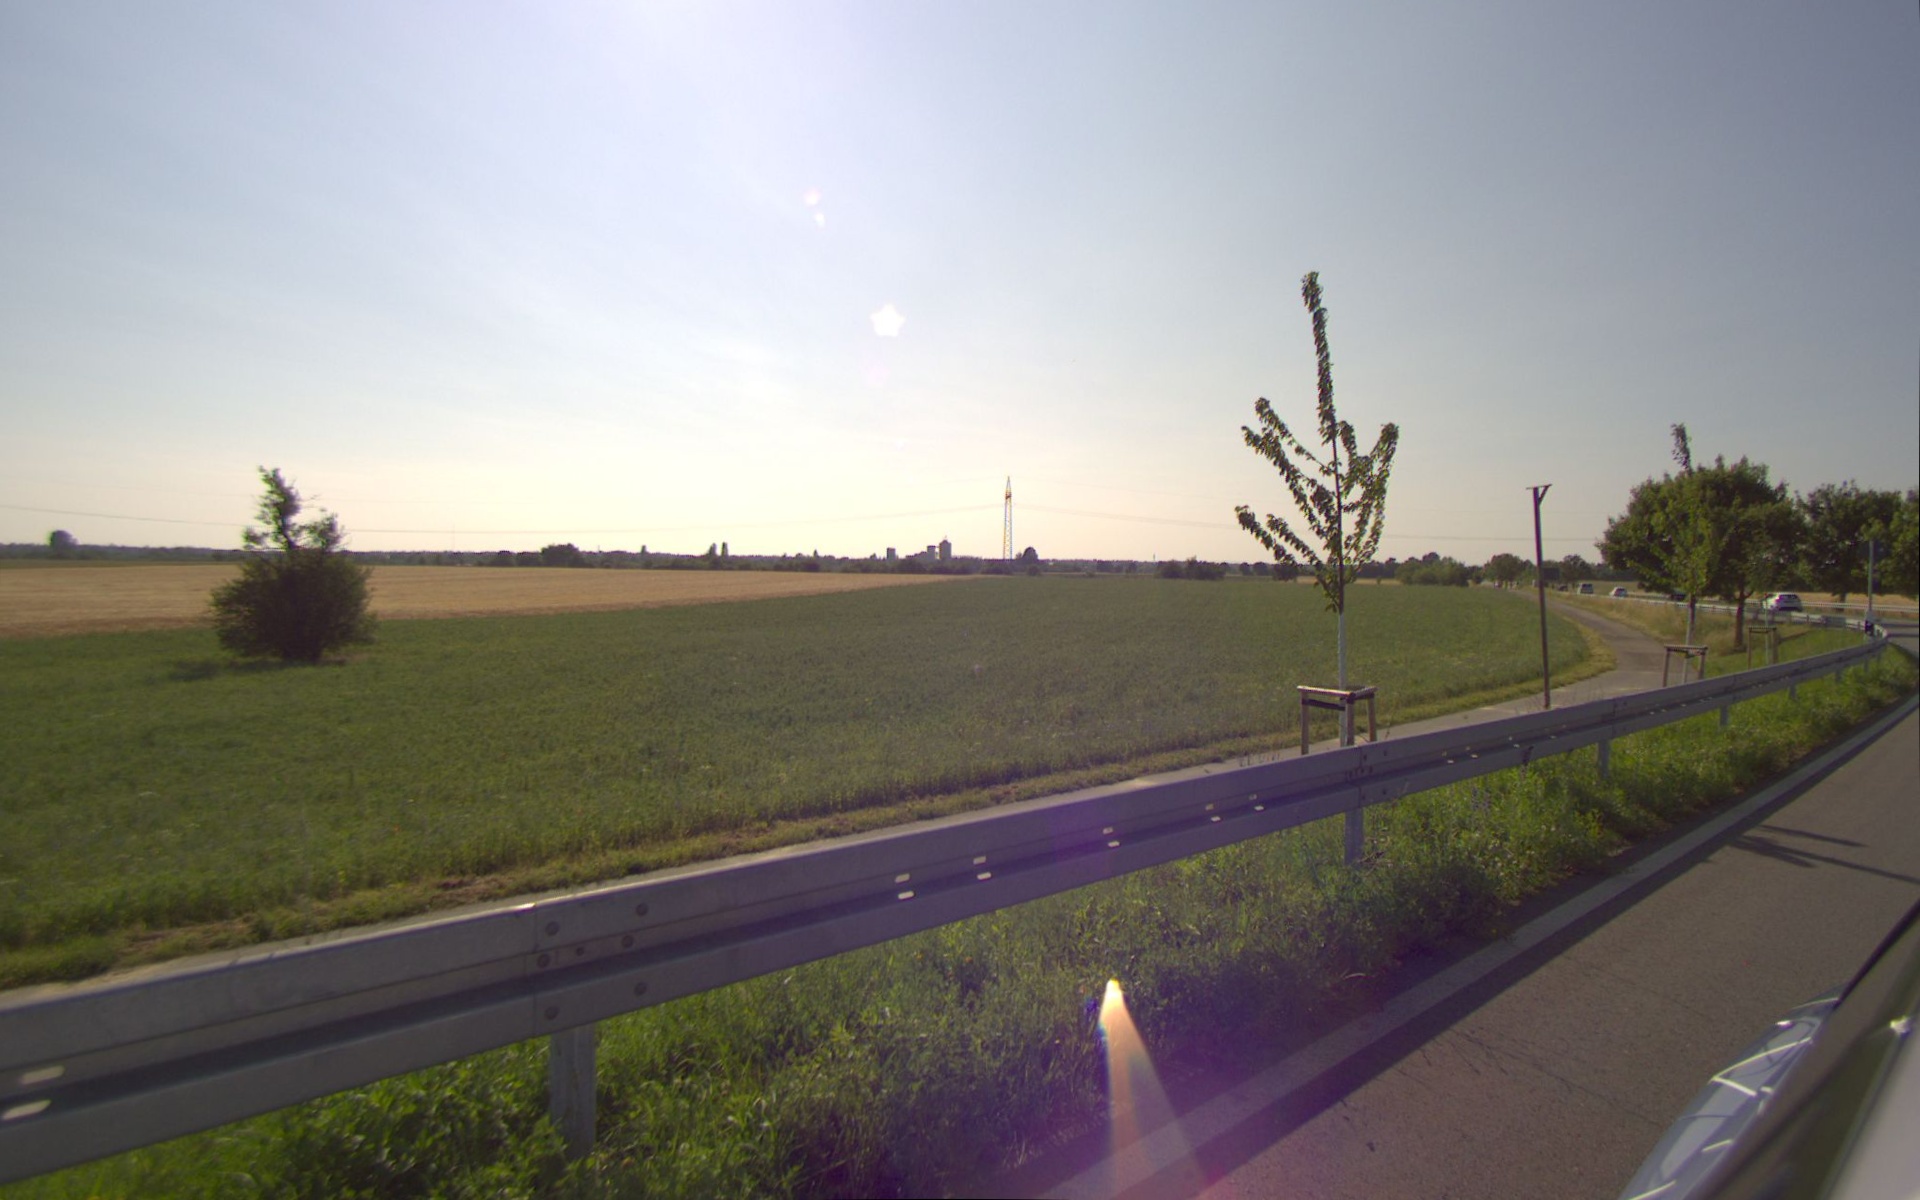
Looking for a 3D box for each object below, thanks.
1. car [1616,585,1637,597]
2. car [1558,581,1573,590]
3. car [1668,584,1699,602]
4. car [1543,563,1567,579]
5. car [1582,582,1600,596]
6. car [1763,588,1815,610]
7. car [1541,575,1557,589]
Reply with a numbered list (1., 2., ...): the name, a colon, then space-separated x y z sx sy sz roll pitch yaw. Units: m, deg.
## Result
1. car: 89.137 -1.240 135.430 1.739 1.447 3.813 -1 1 25
2. car: 117.461 -2.763 196.437 1.994 1.604 4.787 1 3 25
3. car: 73.003 -0.722 102.141 1.825 1.563 4.207 -1 2 27
4. car: 81.445 -3.950 138.545 2.793 2.039 6.039 -1 1 30
5. car: 102.365 -1.758 164.255 1.899 2.038 4.742 -1 2 26
6. car: 58.790 -0.115 71.835 1.839 1.467 4.120 -1 1 24
7. car: 92.116 -2.845 158.375 1.770 2.039 3.968 -1 1 24
